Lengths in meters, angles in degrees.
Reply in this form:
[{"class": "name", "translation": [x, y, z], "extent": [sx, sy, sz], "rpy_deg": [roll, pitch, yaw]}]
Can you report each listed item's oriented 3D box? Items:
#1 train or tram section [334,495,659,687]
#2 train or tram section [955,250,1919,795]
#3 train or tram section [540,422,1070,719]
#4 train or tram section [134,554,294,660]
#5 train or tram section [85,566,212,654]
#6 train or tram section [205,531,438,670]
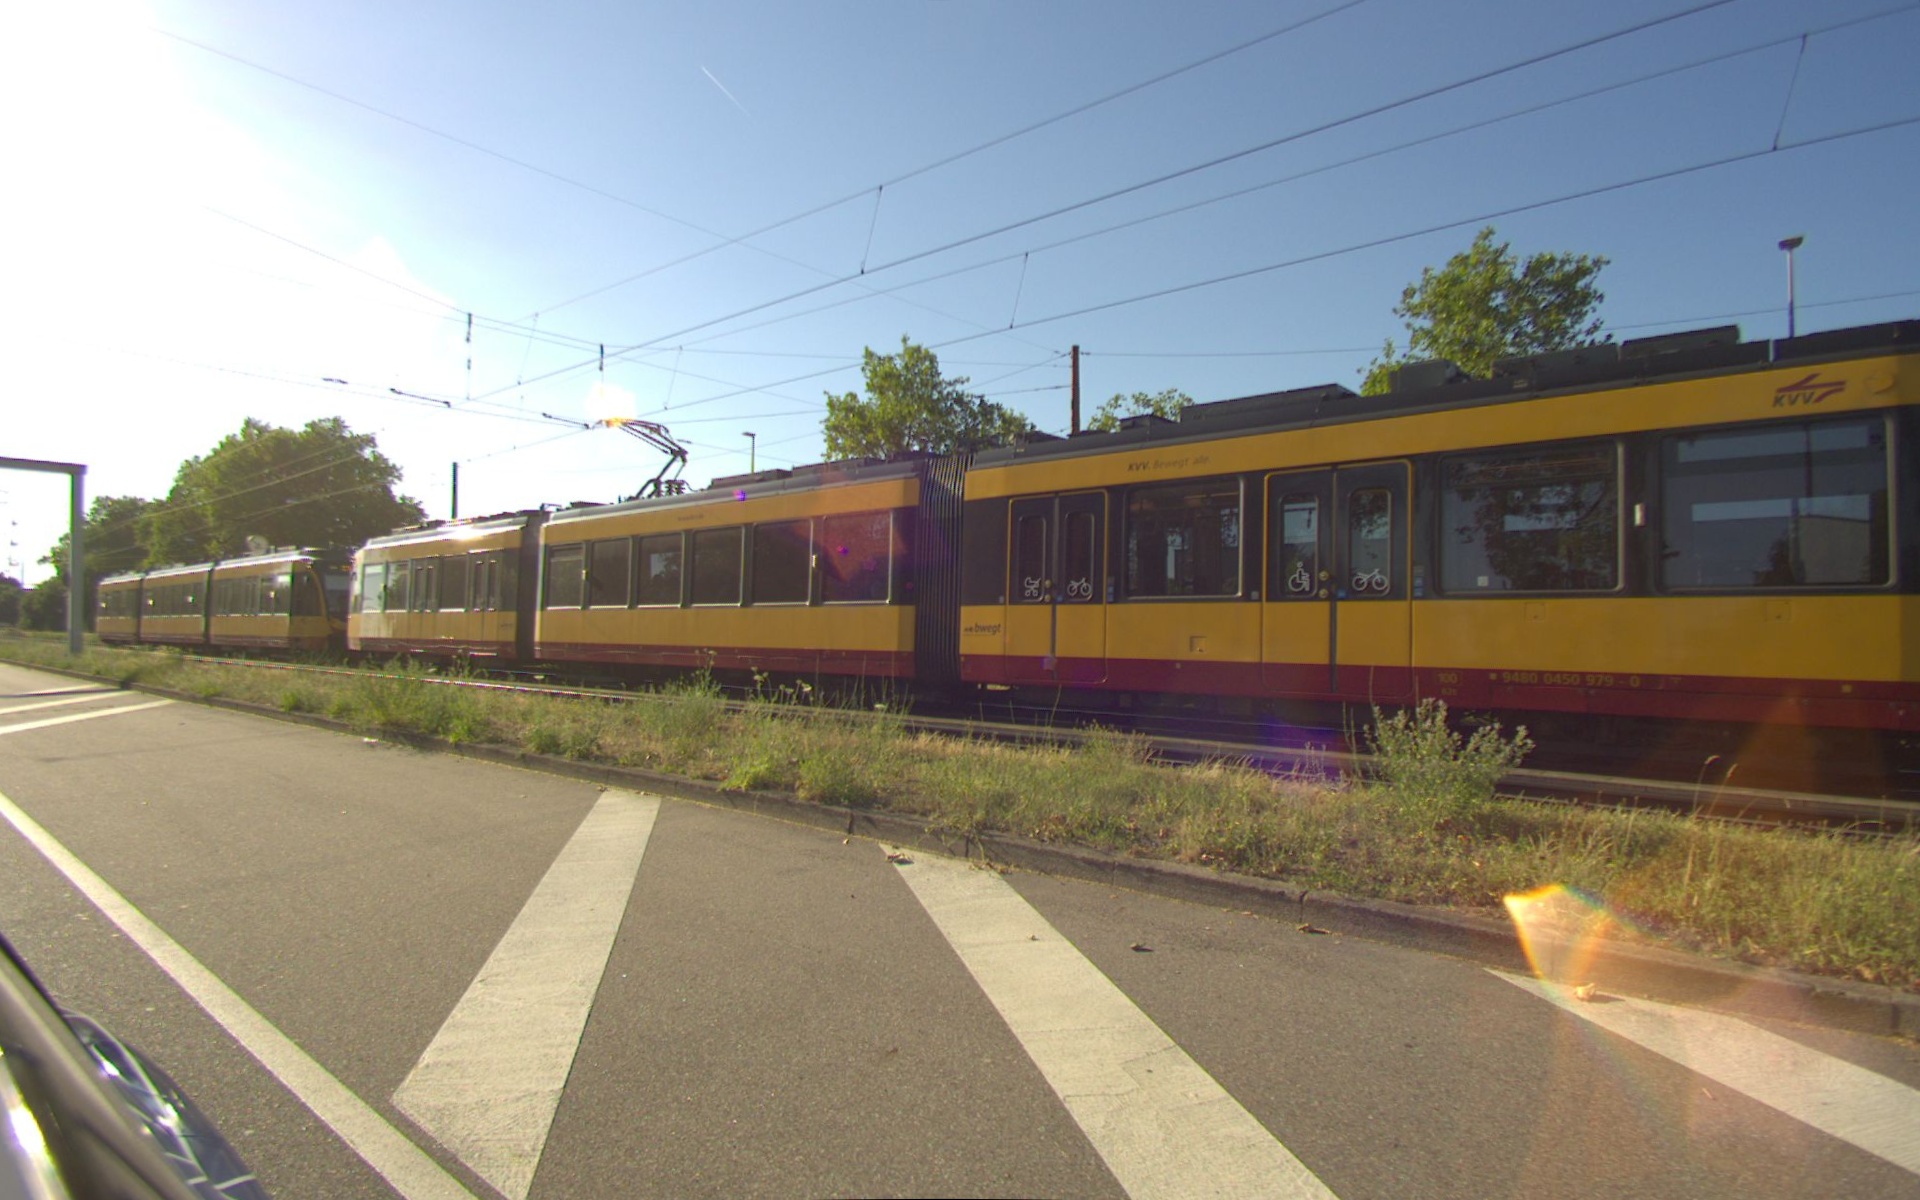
[{"class": "train or tram section", "translation": [-12.385, -0.065, 26.061], "extent": [12.105, 3.977, 2.854], "rpy_deg": [-1, -2, 41]}, {"class": "train or tram section", "translation": [5.435, -0.493, 10.620], "extent": [12.105, 3.977, 2.854], "rpy_deg": [-1, -2, 41]}, {"class": "train or tram section", "translation": [-3.510, -0.280, 18.368], "extent": [11.333, 3.977, 2.854], "rpy_deg": [-1, -2, 41]}, {"class": "train or tram section", "translation": [-31.815, 0.382, 42.866], "extent": [11.905, 3.977, 2.854], "rpy_deg": [-1, -2, 41]}, {"class": "train or tram section", "translation": [-40.737, 0.592, 50.580], "extent": [11.658, 3.977, 2.854], "rpy_deg": [-1, -2, 41]}, {"class": "train or tram section", "translation": [-22.141, 0.156, 34.495], "extent": [13.651, 3.977, 2.854], "rpy_deg": [-1, -2, 41]}]
